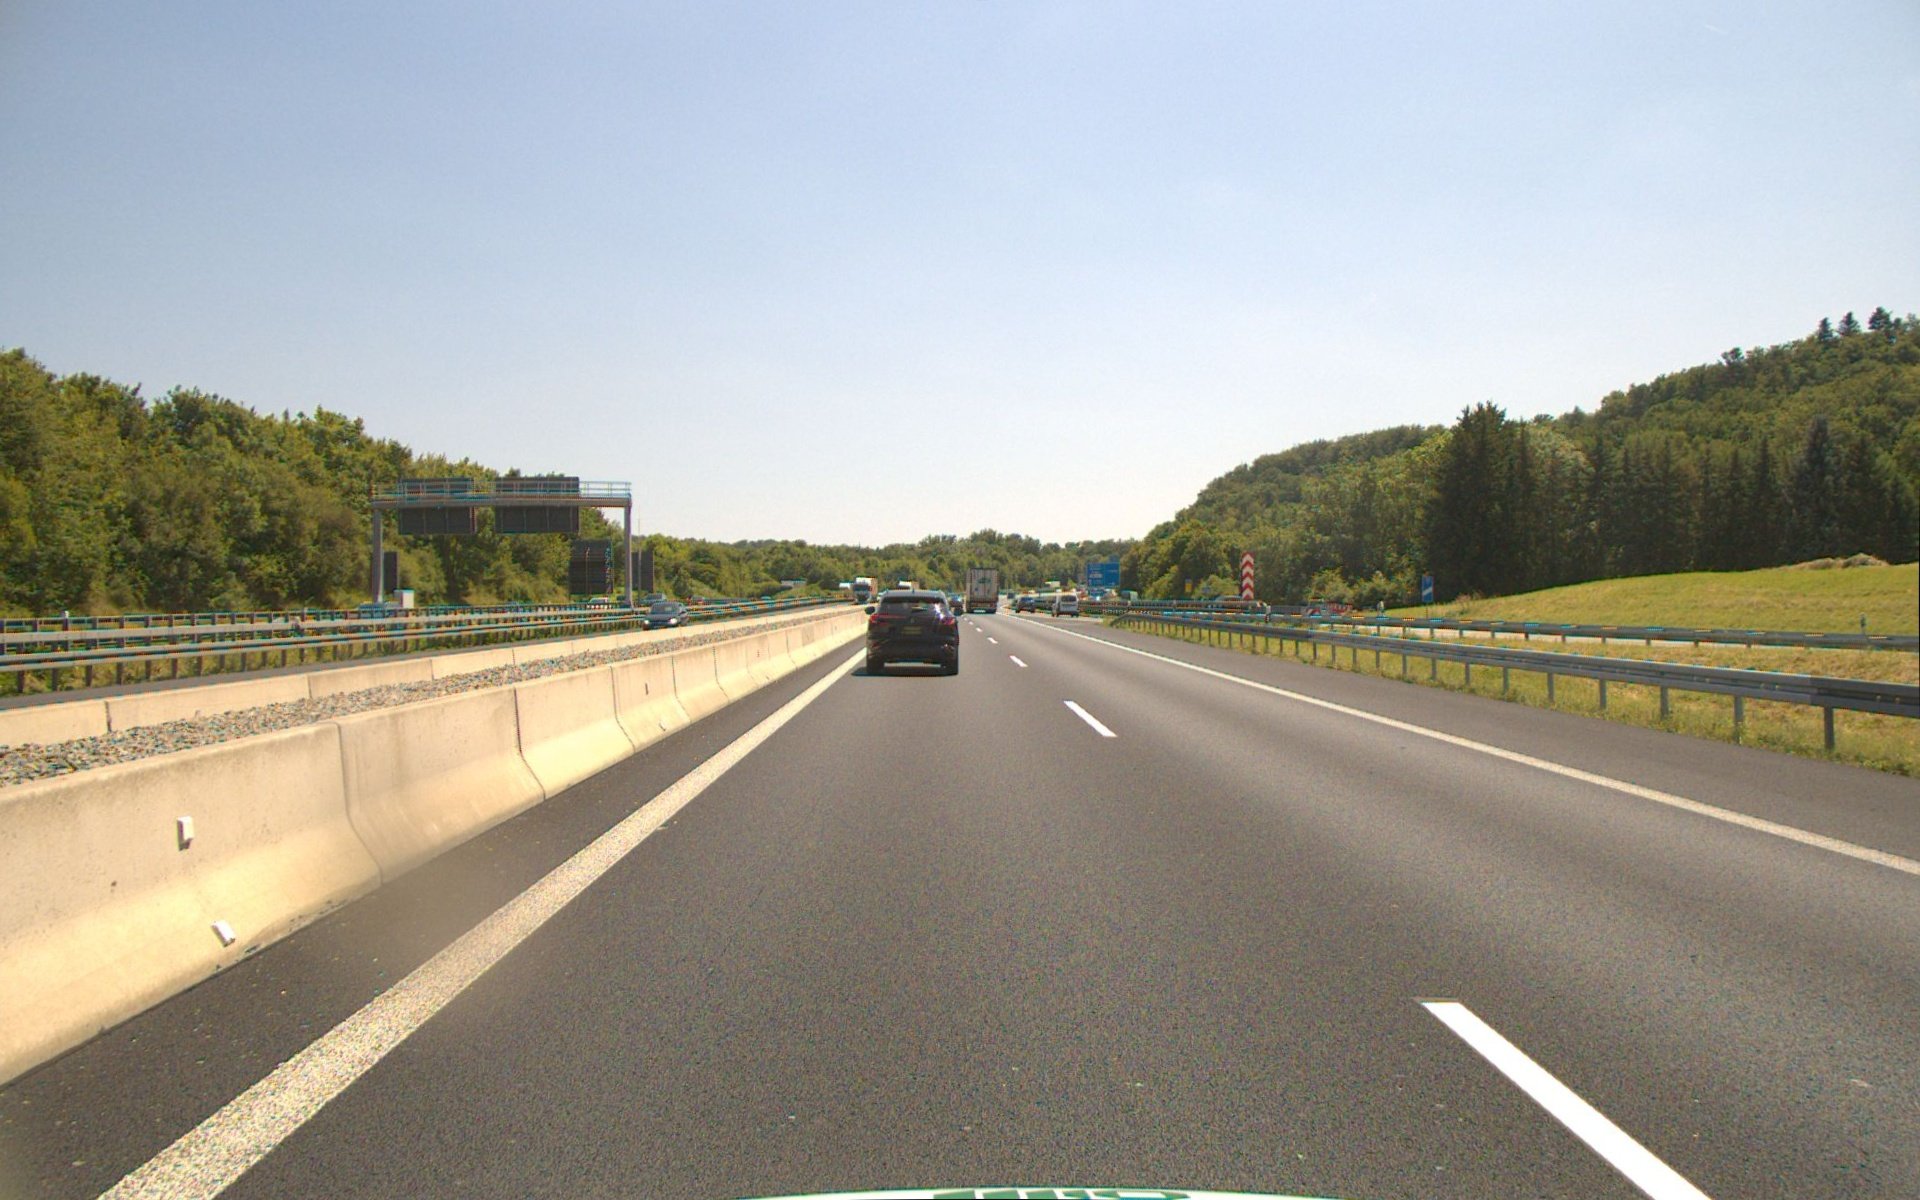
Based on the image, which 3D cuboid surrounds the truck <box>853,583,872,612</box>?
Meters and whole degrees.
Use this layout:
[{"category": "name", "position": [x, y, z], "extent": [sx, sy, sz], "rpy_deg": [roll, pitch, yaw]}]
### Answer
[{"category": "truck", "position": [-14.866, -0.358, 251.966], "extent": [2.654, 4.363, 4.546], "rpy_deg": [1, 0, -7]}]

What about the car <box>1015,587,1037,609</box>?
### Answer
[{"category": "car", "position": [6.608, -0.184, 165.325], "extent": [1.953, 2.049, 3.999], "rpy_deg": [1, 0, -1]}]

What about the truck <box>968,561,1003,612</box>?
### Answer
[{"category": "truck", "position": [2.357, -1.193, 153.449], "extent": [2.969, 4.496, 12.019], "rpy_deg": [1, 0, 1]}]

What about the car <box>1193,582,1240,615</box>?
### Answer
[{"category": "car", "position": [16.762, -0.081, 108.222], "extent": [1.956, 2.049, 3.993], "rpy_deg": [-2, 0, -7]}]

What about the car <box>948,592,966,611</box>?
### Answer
[{"category": "car", "position": [-0.437, 0.145, 203.029], "extent": [2.094, 2.255, 5.087], "rpy_deg": [1, 0, -1]}]

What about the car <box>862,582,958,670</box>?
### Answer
[{"category": "car", "position": [-1.046, 0.491, 32.887], "extent": [1.744, 1.605, 3.997], "rpy_deg": [1, 0, -3]}]

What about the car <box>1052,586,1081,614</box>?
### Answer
[{"category": "car", "position": [8.442, 0.000, 131.360], "extent": [1.953, 2.049, 3.999], "rpy_deg": [-2, 0, -2]}]

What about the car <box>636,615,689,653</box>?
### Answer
[{"category": "car", "position": [-13.115, 1.494, 73.040], "extent": [1.797, 1.561, 4.156], "rpy_deg": [1, 0, -4]}]
